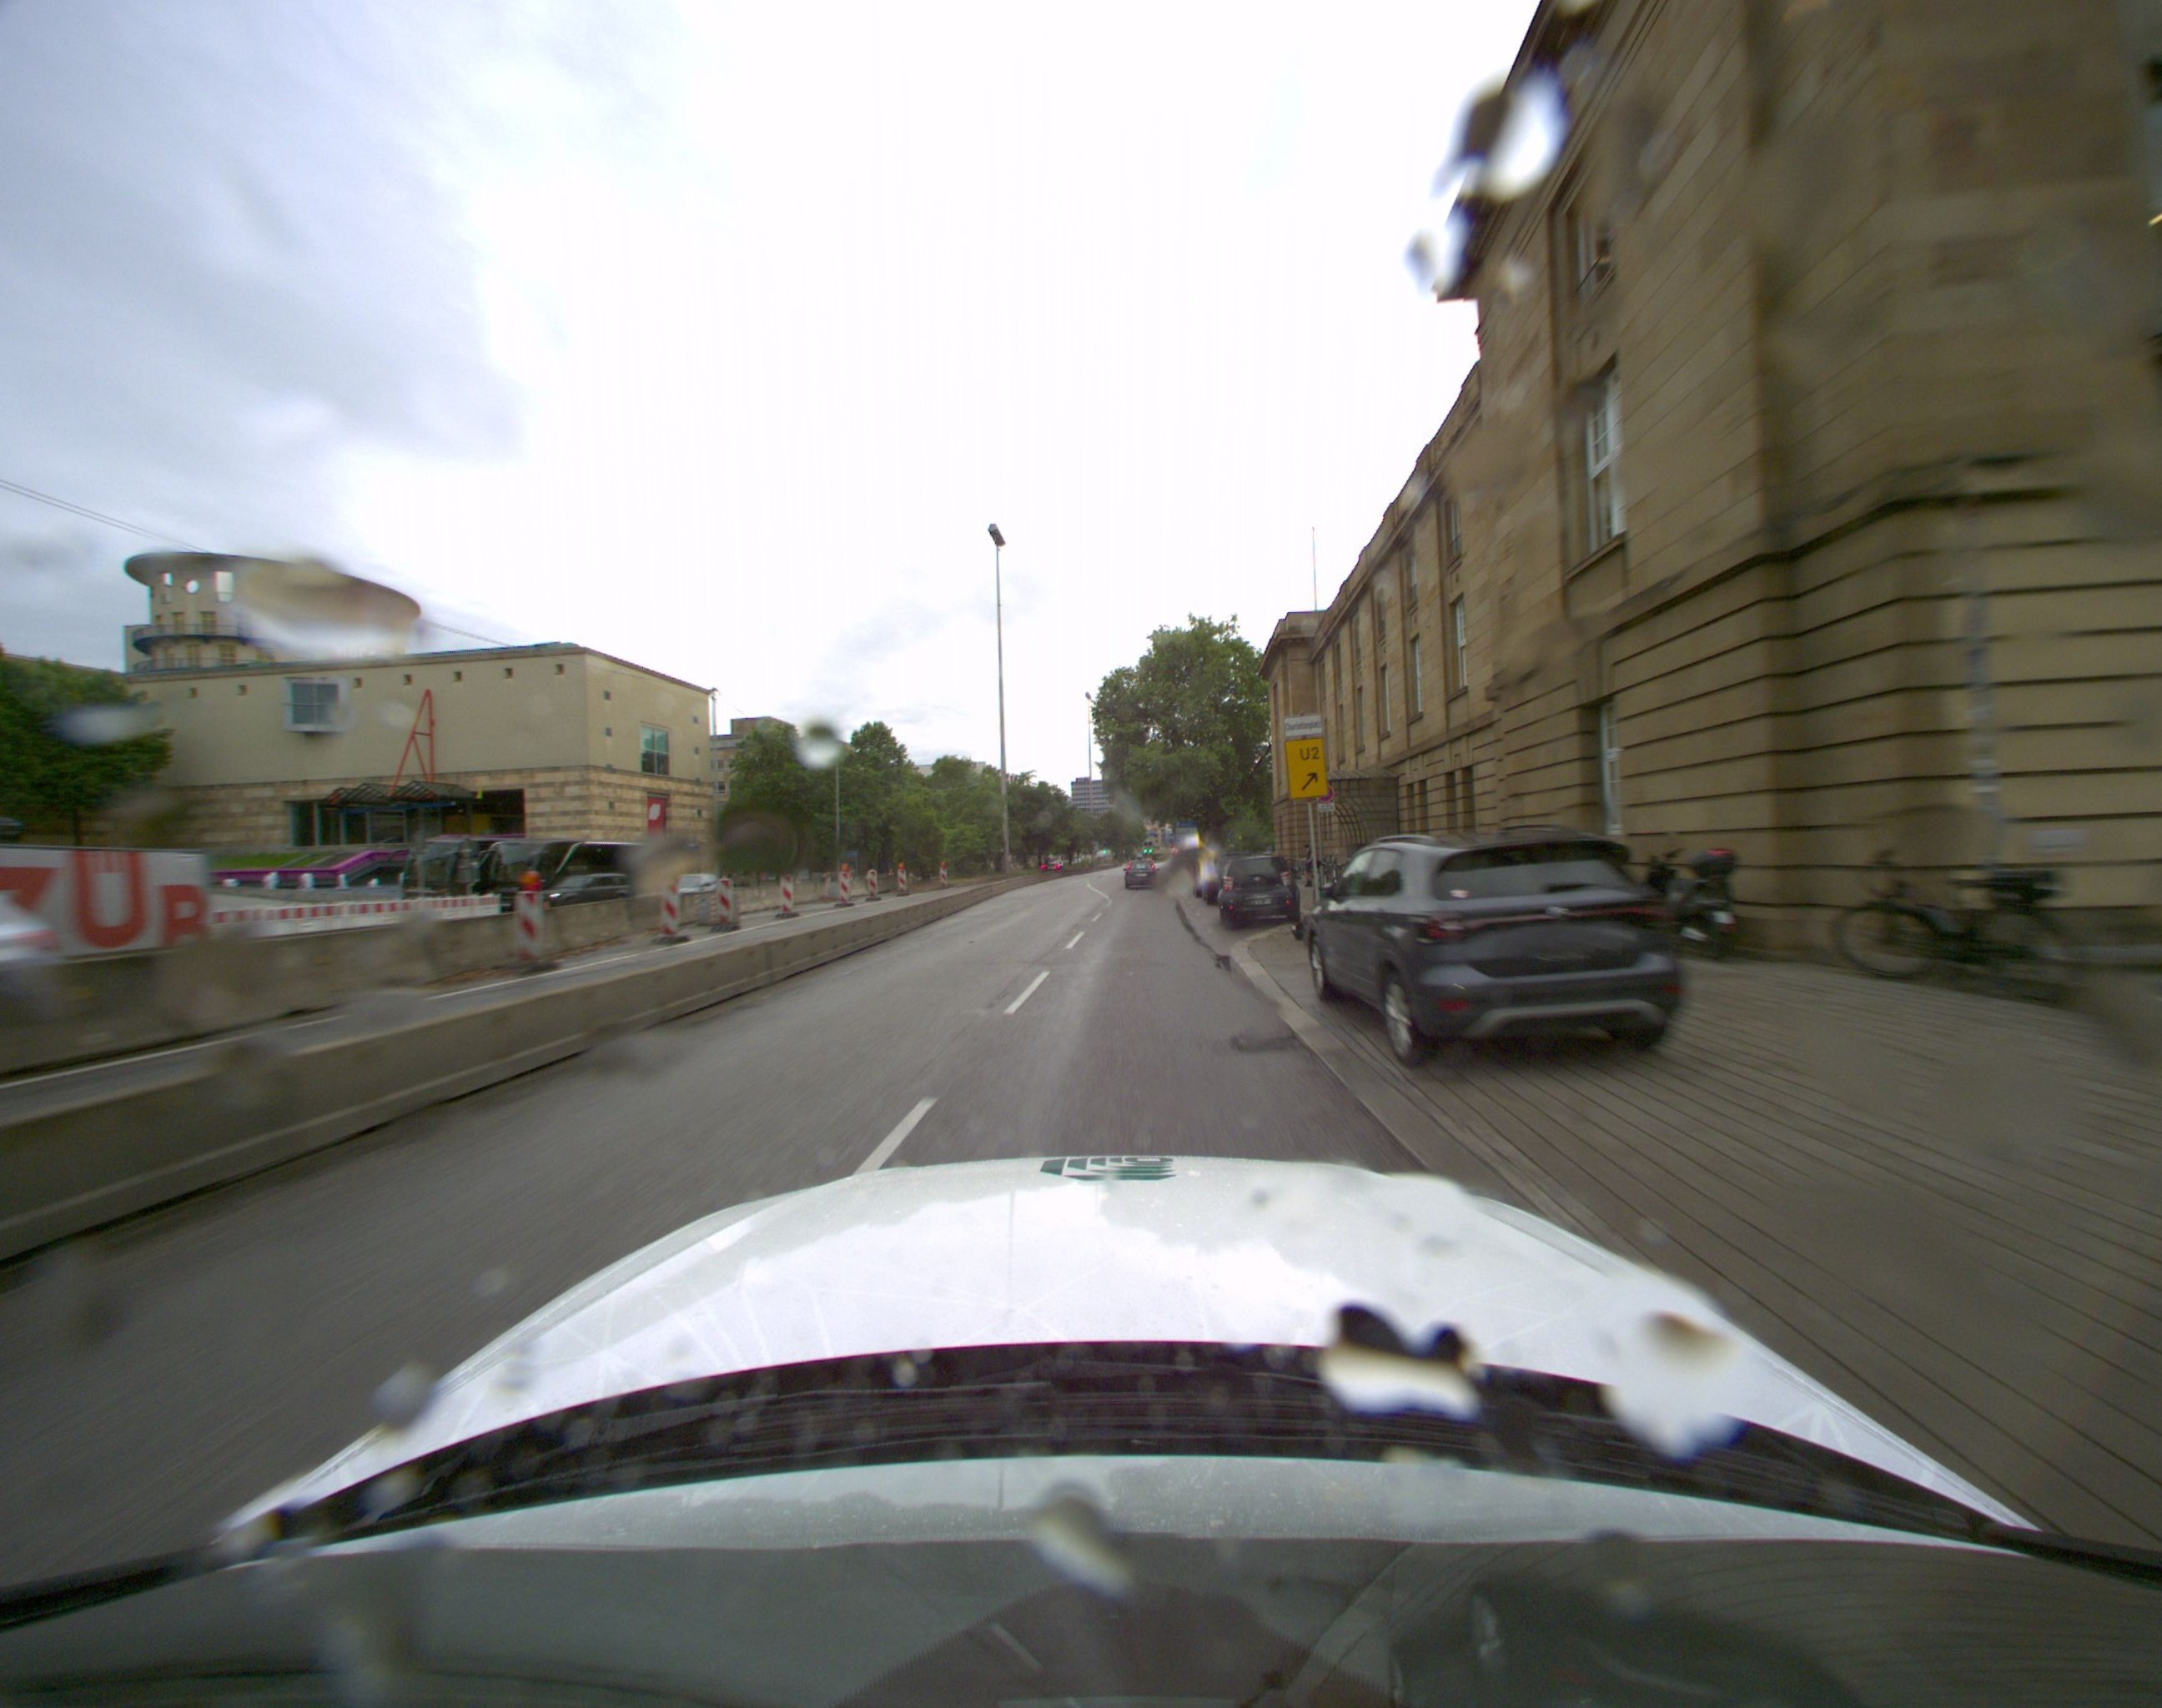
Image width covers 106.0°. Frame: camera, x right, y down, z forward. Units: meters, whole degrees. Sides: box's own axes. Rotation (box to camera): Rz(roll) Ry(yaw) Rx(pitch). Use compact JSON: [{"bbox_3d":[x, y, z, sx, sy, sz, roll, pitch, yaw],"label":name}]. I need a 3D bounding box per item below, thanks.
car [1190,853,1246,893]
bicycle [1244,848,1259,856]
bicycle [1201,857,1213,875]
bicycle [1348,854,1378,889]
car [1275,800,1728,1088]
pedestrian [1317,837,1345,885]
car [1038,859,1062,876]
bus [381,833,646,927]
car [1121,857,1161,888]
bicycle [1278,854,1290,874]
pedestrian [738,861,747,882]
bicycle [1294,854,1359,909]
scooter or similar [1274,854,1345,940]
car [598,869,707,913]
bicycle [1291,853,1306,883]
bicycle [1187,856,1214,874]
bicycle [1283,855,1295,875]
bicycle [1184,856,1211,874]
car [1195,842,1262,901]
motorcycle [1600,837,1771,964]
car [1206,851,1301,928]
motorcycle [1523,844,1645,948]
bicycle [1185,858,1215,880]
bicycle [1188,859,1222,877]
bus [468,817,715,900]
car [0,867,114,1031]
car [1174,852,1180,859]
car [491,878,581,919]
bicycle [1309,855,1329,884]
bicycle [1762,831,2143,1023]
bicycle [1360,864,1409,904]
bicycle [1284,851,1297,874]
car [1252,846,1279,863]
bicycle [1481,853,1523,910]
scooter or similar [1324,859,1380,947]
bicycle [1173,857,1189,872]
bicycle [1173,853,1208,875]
[{"bbox_3d":[5.362,0.733,32.321,1.922,1.478,3.709,-1,-1,6],"label":"car"},{"bbox_3d":[26.701,-0.246,127.647,2.030,1.173,0.959,-2,0,-3],"label":"bicycle"},{"bbox_3d":[8.993,0.850,57.983,0.601,1.197,1.911,-4,-1,13],"label":"bicycle"},{"bbox_3d":[8.809,0.546,25.513,0.580,1.038,1.763,-2,-1,9],"label":"bicycle"},{"bbox_3d":[2.973,0.532,6.982,1.862,1.619,4.410,-3,0,5],"label":"car"},{"bbox_3d":[9.805,0.270,31.924,0.791,1.777,0.643,-5,-1,5],"label":"pedestrian"},{"bbox_3d":[-2.678,1.198,71.451,1.748,1.452,4.001,1,-1,2],"label":"car"},{"bbox_3d":[-29.370,1.166,43.675,3.100,4.252,13.528,0,0,9],"label":"bus"},{"bbox_3d":[3.043,0.938,41.840,1.837,1.416,3.840,-3,-1,2],"label":"car"},{"bbox_3d":[11.491,0.567,46.179,0.350,1.080,1.791,-3,-1,5],"label":"bicycle"},{"bbox_3d":[-33.499,1.741,80.572,0.475,2.014,0.513,-3,-1,6],"label":"pedestrian"},{"bbox_3d":[5.906,0.649,19.730,0.774,1.218,1.962,-3,-1,-5],"label":"bicycle"},{"bbox_3d":[3.860,0.692,13.697,1.338,1.368,0.430,-1,-1,-39],"label":"scooter or similar"},{"bbox_3d":[-14.321,1.183,27.523,1.773,1.262,4.753,0,0,-9],"label":"car"},{"bbox_3d":[11.380,0.705,42.576,0.451,1.515,1.601,0,0,3],"label":"bicycle"},{"bbox_3d":[7.505,0.686,51.123,1.670,1.090,0.652,-1,-1,7],"label":"bicycle"},{"bbox_3d":[11.374,0.582,44.562,0.350,1.080,1.792,-1,-1,5],"label":"bicycle"},{"bbox_3d":[7.518,0.688,52.456,1.670,1.122,0.603,-1,0,7],"label":"bicycle"},{"bbox_3d":[4.846,0.562,27.316,1.982,1.781,4.197,-1,-1,8],"label":"car"},{"bbox_3d":[6.799,0.490,9.299,0.802,1.299,1.803,-2,-1,9],"label":"motorcycle"},{"bbox_3d":[3.727,0.727,17.836,1.748,1.414,3.161,-4,-1,10],"label":"car"},{"bbox_3d":[7.028,0.554,11.511,0.663,1.326,2.140,-2,-1,9],"label":"motorcycle"},{"bbox_3d":[7.558,0.942,51.733,1.895,1.332,0.652,-1,-1,7],"label":"bicycle"},{"bbox_3d":[7.522,0.828,49.543,1.977,1.060,0.760,-1,-1,2],"label":"bicycle"},{"bbox_3d":[-25.872,0.196,44.802,2.787,3.811,14.635,0,0,9],"label":"bus"},{"bbox_3d":[-11.172,0.937,6.560,1.988,1.530,3.997,-2,0,-2],"label":"car"},{"bbox_3d":[27.192,0.534,230.754,1.729,1.771,4.008,-3,-1,8],"label":"car"},{"bbox_3d":[-23.795,1.911,35.674,1.585,1.500,3.217,-4,-1,3],"label":"car"},{"bbox_3d":[10.155,0.651,34.806,0.462,1.215,1.693,-1,-1,4],"label":"bicycle"},{"bbox_3d":[6.860,0.521,6.617,1.097,1.317,1.859,-1,-1,2],"label":"bicycle"},{"bbox_3d":[8.377,0.819,22.538,0.709,1.051,1.741,-1,-1,1],"label":"bicycle"},{"bbox_3d":[11.647,0.480,45.282,0.451,1.251,1.601,0,0,4],"label":"bicycle"},{"bbox_3d":[18.962,0.050,84.019,1.984,1.609,5.244,-1,1,5],"label":"car"},{"bbox_3d":[8.233,0.516,15.966,0.415,1.050,1.780,-2,-1,18],"label":"bicycle"},{"bbox_3d":[4.030,0.706,12.183,0.432,1.216,1.123,-4,-1,3],"label":"scooter or similar"},{"bbox_3d":[6.580,0.698,53.407,0.663,0.967,1.646,-2,-1,21],"label":"bicycle"},{"bbox_3d":[7.052,0.649,52.461,2.179,1.336,0.652,-1,-1,7],"label":"bicycle"}]
